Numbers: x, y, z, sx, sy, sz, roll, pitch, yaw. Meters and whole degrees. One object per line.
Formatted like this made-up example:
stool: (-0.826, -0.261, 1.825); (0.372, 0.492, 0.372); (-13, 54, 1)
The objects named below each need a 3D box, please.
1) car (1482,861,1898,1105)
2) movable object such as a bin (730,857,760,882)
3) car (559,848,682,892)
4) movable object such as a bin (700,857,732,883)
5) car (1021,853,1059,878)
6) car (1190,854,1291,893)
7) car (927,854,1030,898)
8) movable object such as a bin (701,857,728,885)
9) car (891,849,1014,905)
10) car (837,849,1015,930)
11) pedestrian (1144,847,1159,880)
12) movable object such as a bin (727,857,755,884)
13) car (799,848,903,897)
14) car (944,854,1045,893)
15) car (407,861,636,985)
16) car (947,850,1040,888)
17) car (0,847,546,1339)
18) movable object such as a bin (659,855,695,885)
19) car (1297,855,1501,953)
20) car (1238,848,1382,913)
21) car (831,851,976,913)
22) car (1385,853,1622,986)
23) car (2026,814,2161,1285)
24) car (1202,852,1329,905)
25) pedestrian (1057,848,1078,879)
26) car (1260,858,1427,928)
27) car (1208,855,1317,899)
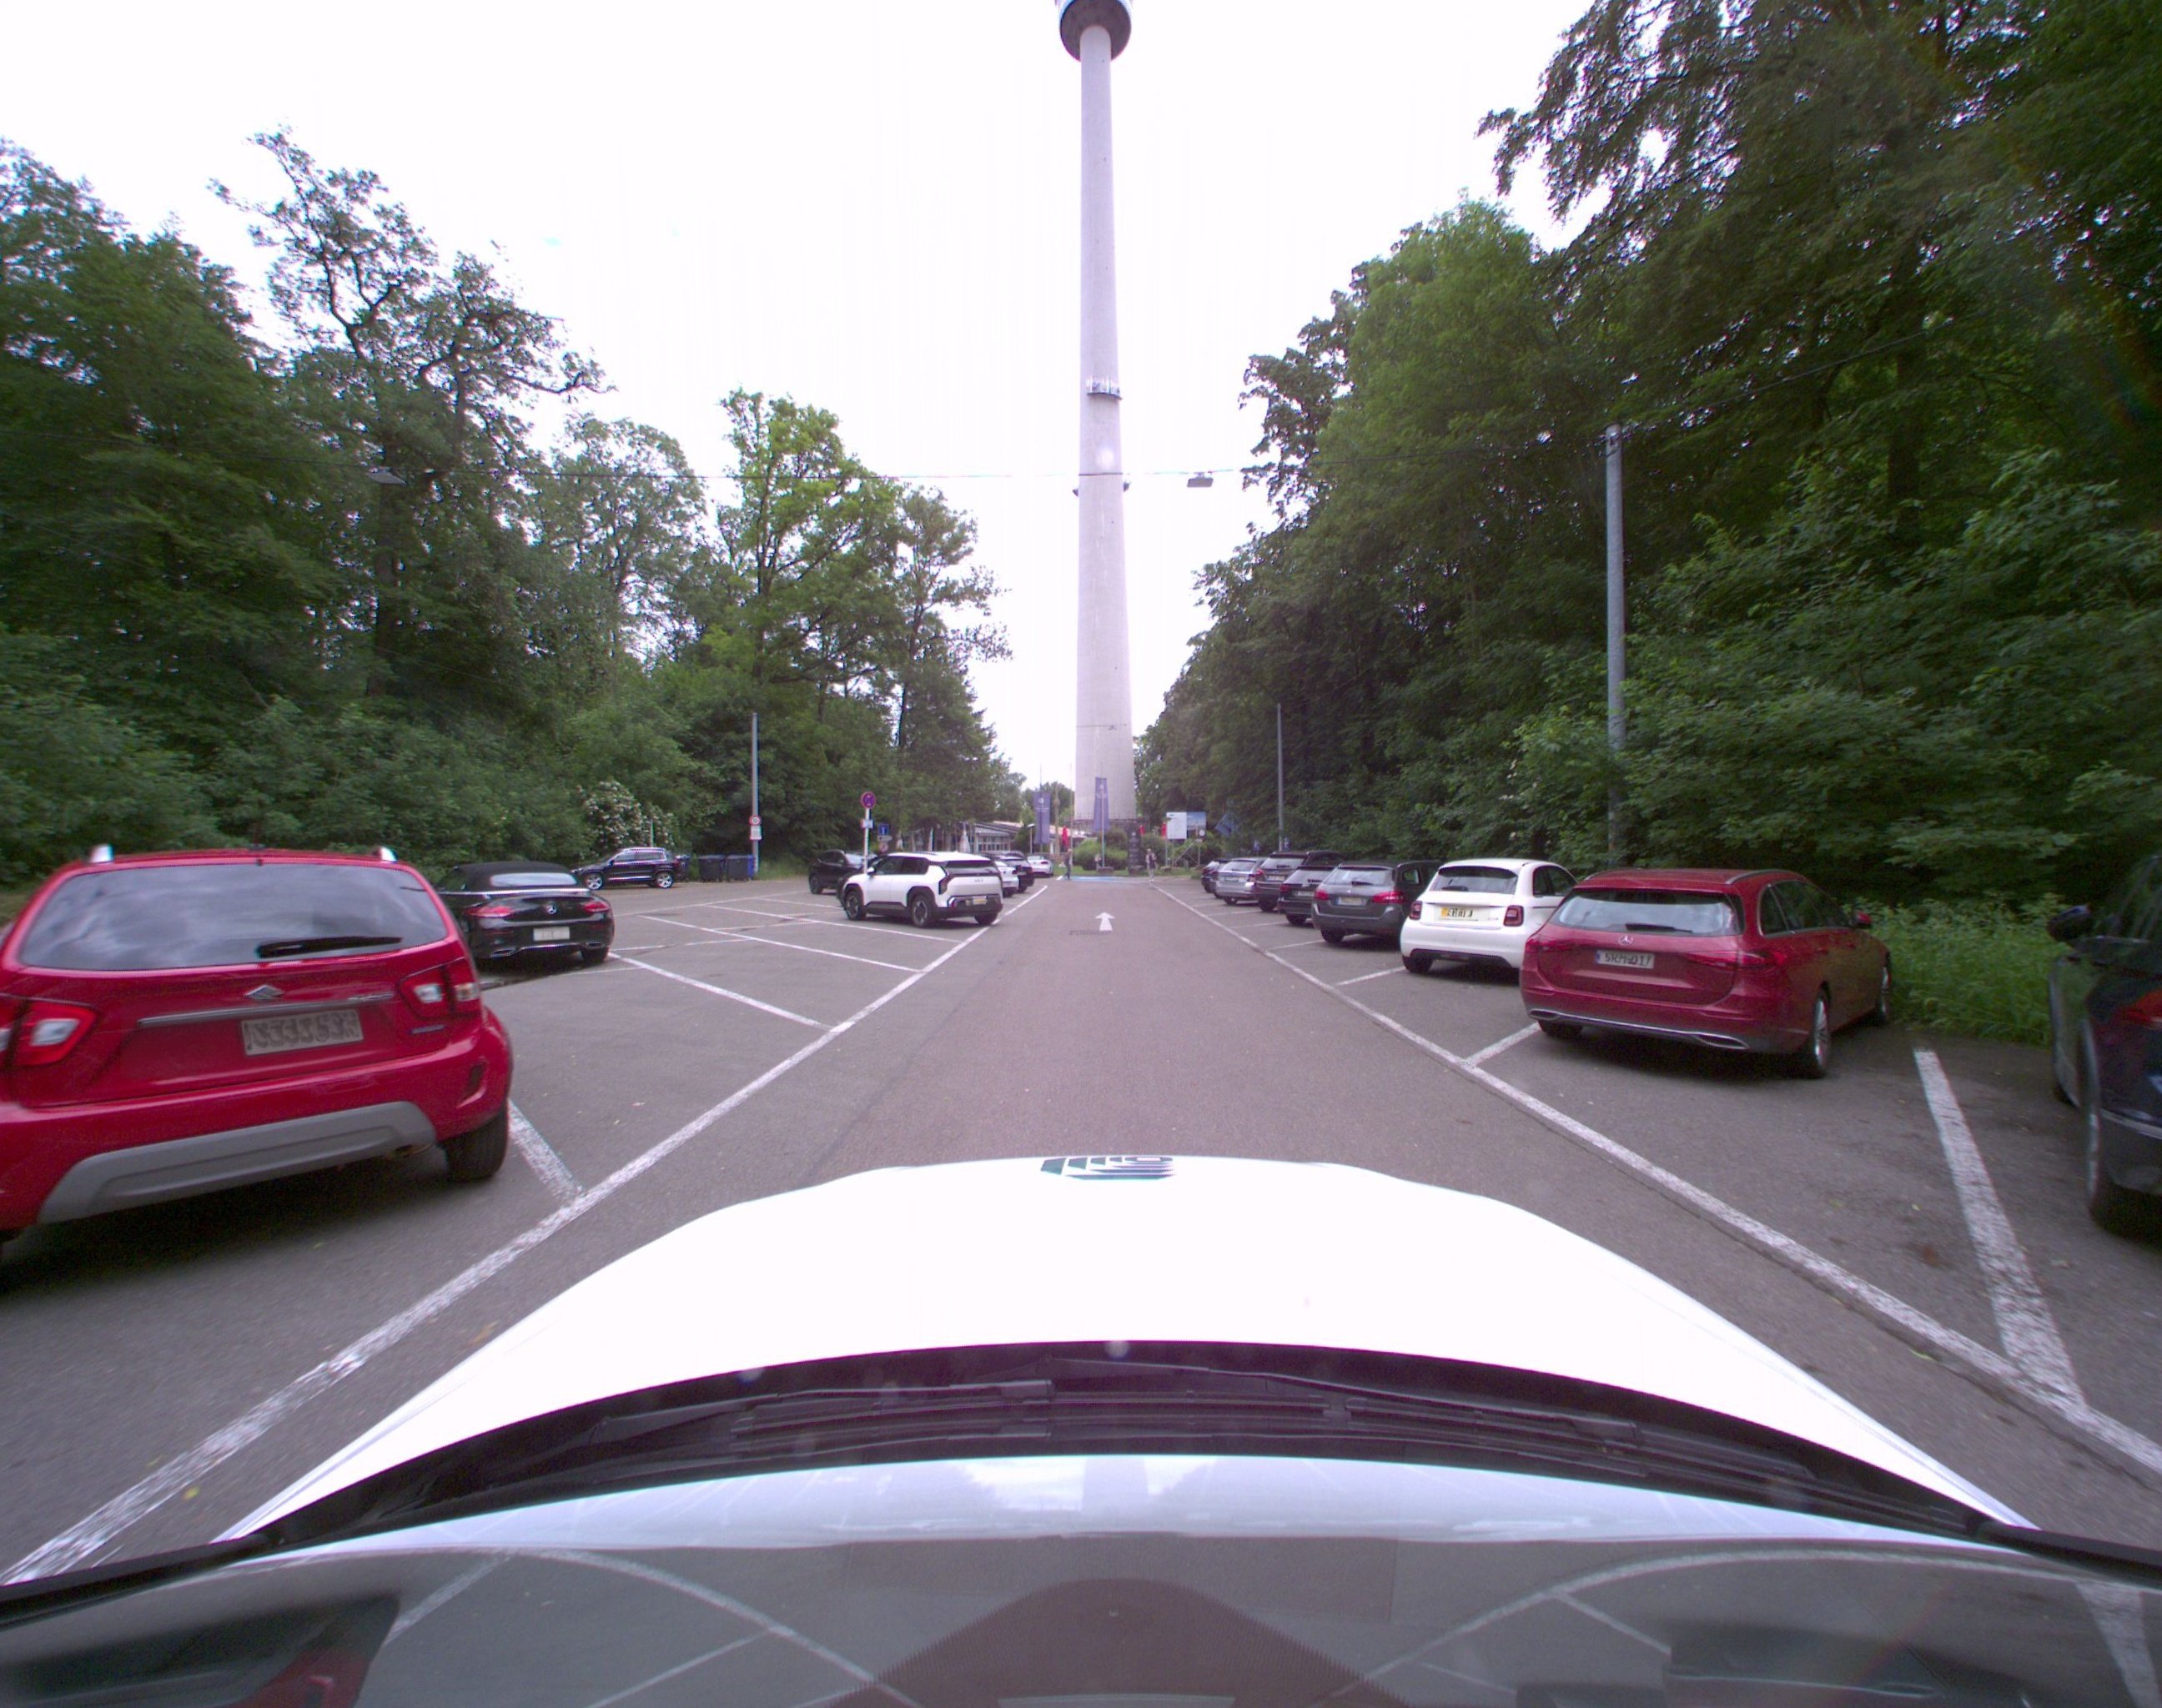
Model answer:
car: (5.378, 0.789, 6.971); (4.318, 1.414, 1.905); (0, 0, -40)
movable object such as a bin: (-17.680, 0.808, 42.888); (1.254, 1.325, 1.142); (0, 0, -11)
car: (-18.906, 0.623, 33.512); (4.094, 1.685, 1.857); (0, 0, -43)
movable object such as a bin: (-18.809, 0.814, 41.963); (1.121, 1.320, 1.239); (0, 0, -3)
car: (-2.432, 0.655, 49.412); (1.885, 1.428, 4.003); (0, 0, 2)
car: (6.498, 0.728, 32.946); (4.228, 1.462, 1.876); (0, 0, -43)
car: (-3.744, 0.741, 29.421); (1.783, 1.443, 3.799); (0, 0, -43)
movable object such as a bin: (-18.036, 0.827, 40.099); (1.130, 1.314, 1.174); (0, 0, -28)
car: (-4.068, 0.654, 25.428); (1.858, 1.587, 3.928); (-1, 1, -44)
car: (-3.541, 0.697, 18.175); (4.137, 1.596, 1.858); (0, 0, 44)
pedestrian: (3.745, 0.519, 43.197); (0.757, 1.725, 0.899); (0, 0, 8)
movable object such as a bin: (-16.978, 0.811, 40.668); (1.176, 1.307, 1.301); (0, 0, -28)
car: (-8.390, 0.617, 29.531); (3.950, 1.663, 1.910); (0, 0, 44)
car: (-3.511, 0.726, 32.556); (4.225, 1.443, 1.770); (0, 0, 44)
car: (-8.223, 0.839, 11.817); (4.262, 1.442, 1.881); (0, 0, 43)
car: (-3.967, 0.627, 36.481); (4.333, 1.608, 1.840); (0, 0, 45)
car: (-4.345, 0.771, 4.349); (3.608, 1.585, 1.697); (0, 0, 43)
movable object such as a bin: (-19.599, 0.758, 39.520); (1.118, 1.425, 1.132); (0, 0, 4)
car: (5.785, 0.770, 14.543); (4.210, 1.457, 1.783); (0, 0, -44)
car: (6.449, 0.663, 22.668); (4.287, 1.636, 1.941); (0, 0, -44)
car: (-4.984, 0.703, 22.633); (3.949, 1.554, 1.885); (0, 0, 39)
car: (5.853, 0.747, 11.123); (3.602, 1.505, 1.714); (0, 0, -42)
car: (5.684, 0.673, 3.680); (4.141, 1.618, 1.820); (0, 0, -41)
car: (5.832, 0.709, 25.529); (4.020, 1.467, 1.814); (-1, 1, -40)
pedestrian: (-0.757, 0.507, 45.096); (0.885, 1.725, 0.769); (0, 0, 32)
car: (6.069, 0.793, 18.569); (1.941, 1.377, 4.288); (0, 0, 44)
car: (6.513, 0.765, 29.014); (4.023, 1.422, 1.887); (0, 0, -44)
